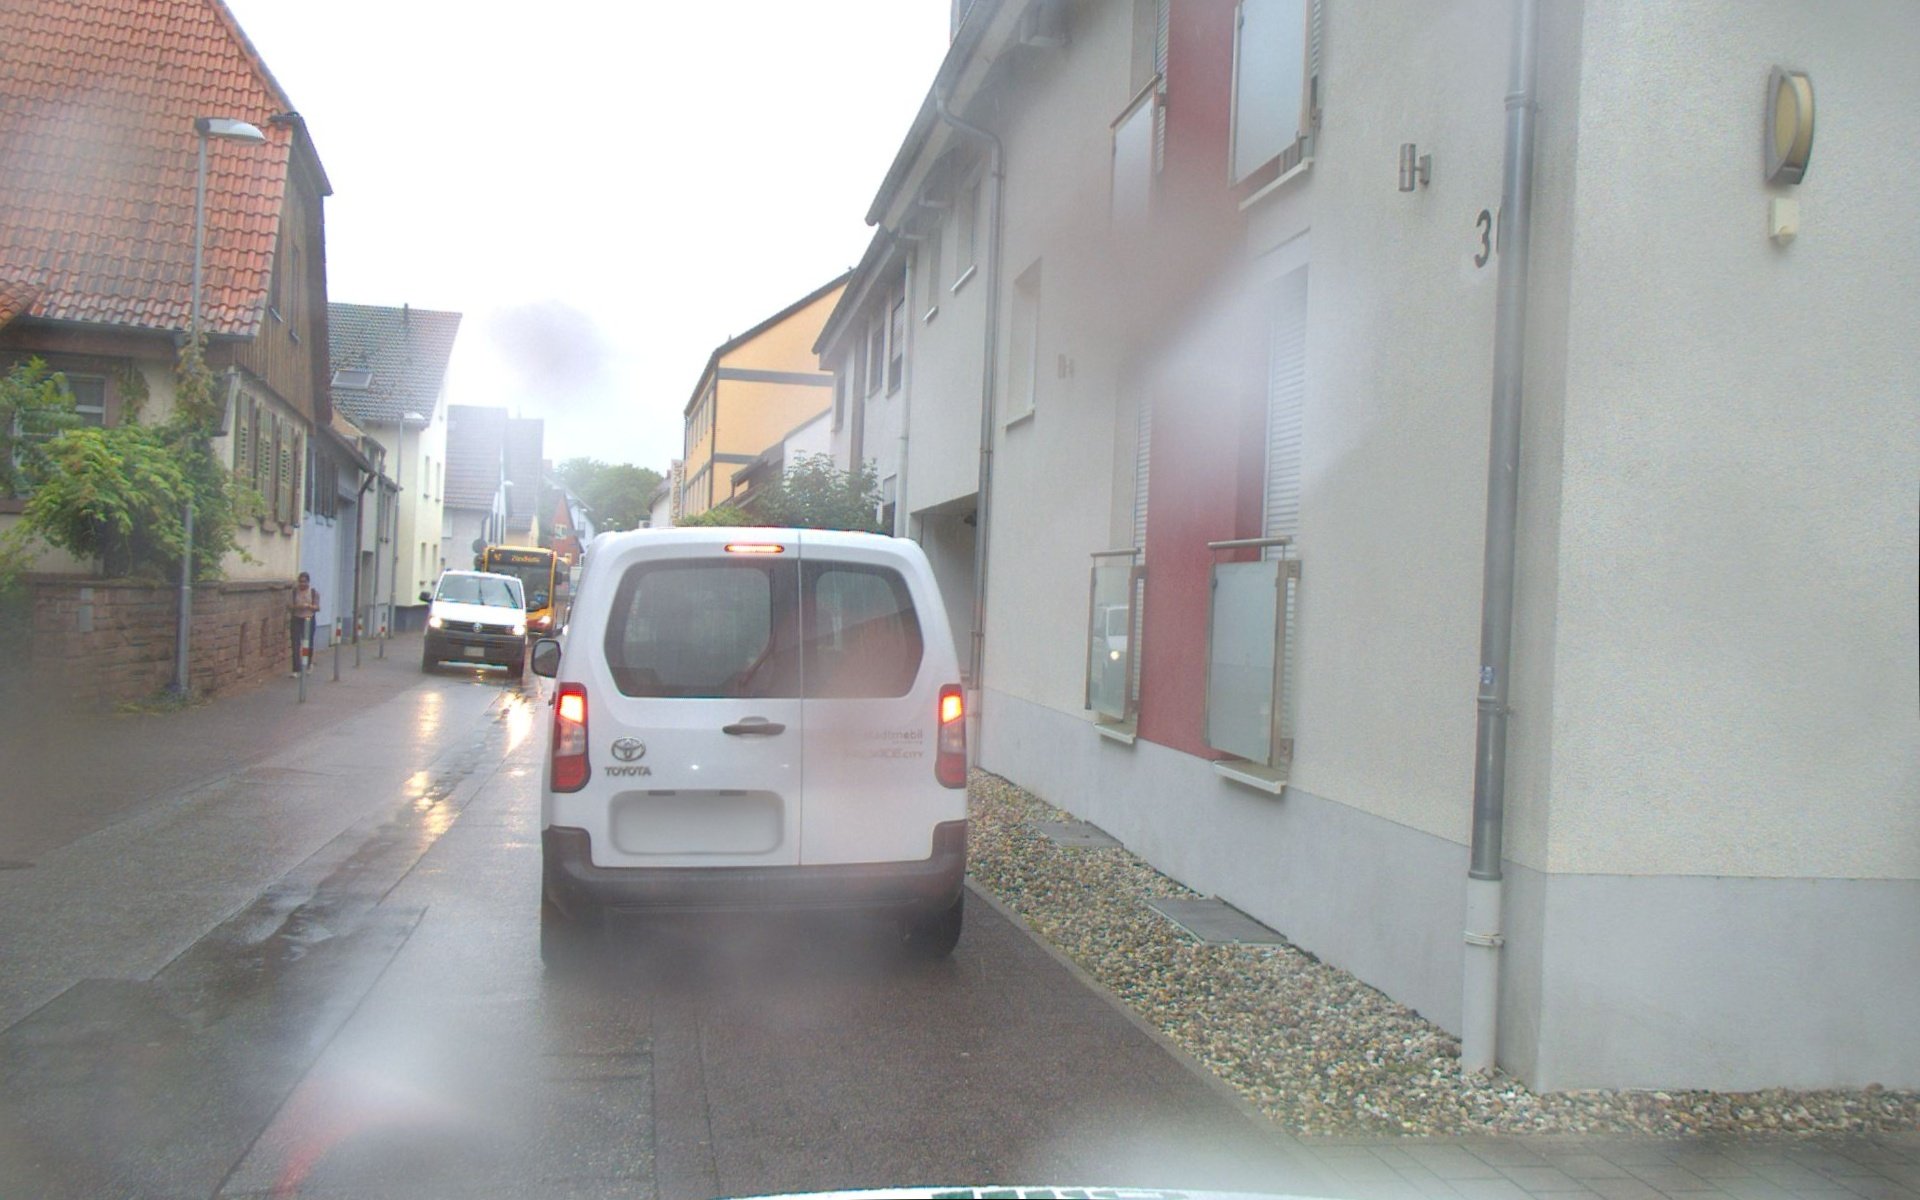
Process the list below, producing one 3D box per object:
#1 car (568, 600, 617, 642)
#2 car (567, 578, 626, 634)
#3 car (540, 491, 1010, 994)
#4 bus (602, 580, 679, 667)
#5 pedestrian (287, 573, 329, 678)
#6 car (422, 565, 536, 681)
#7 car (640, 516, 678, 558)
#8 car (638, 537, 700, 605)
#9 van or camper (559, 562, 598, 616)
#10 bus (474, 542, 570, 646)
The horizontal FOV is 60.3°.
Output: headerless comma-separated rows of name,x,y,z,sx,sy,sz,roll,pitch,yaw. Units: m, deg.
car,-13.247,0.753,59.769,1.534,1.395,3.575,4,-1,-11
car,-10.746,0.180,49.010,1.534,1.506,3.574,4,-1,-11
car,-1.092,0.550,8.288,1.763,1.850,4.089,1,-1,-12
bus,-13.408,0.963,69.103,2.744,3.235,8.153,4,-1,-12
pedestrian,-9.888,0.386,25.089,0.559,1.557,0.565,1,-1,-21
car,-9.378,0.440,32.558,1.861,2.001,4.705,4,-1,-14
car,-17.003,-3.504,93.392,1.958,2.049,3.989,4,-1,-11
car,-9.706,-0.927,54.946,1.795,2.049,3.682,4,-1,-12
van or camper,-22.496,-0.615,97.720,1.802,2.976,5.349,4,-1,-10
bus,-15.985,-0.165,60.866,2.744,3.387,8.153,4,-1,-12
